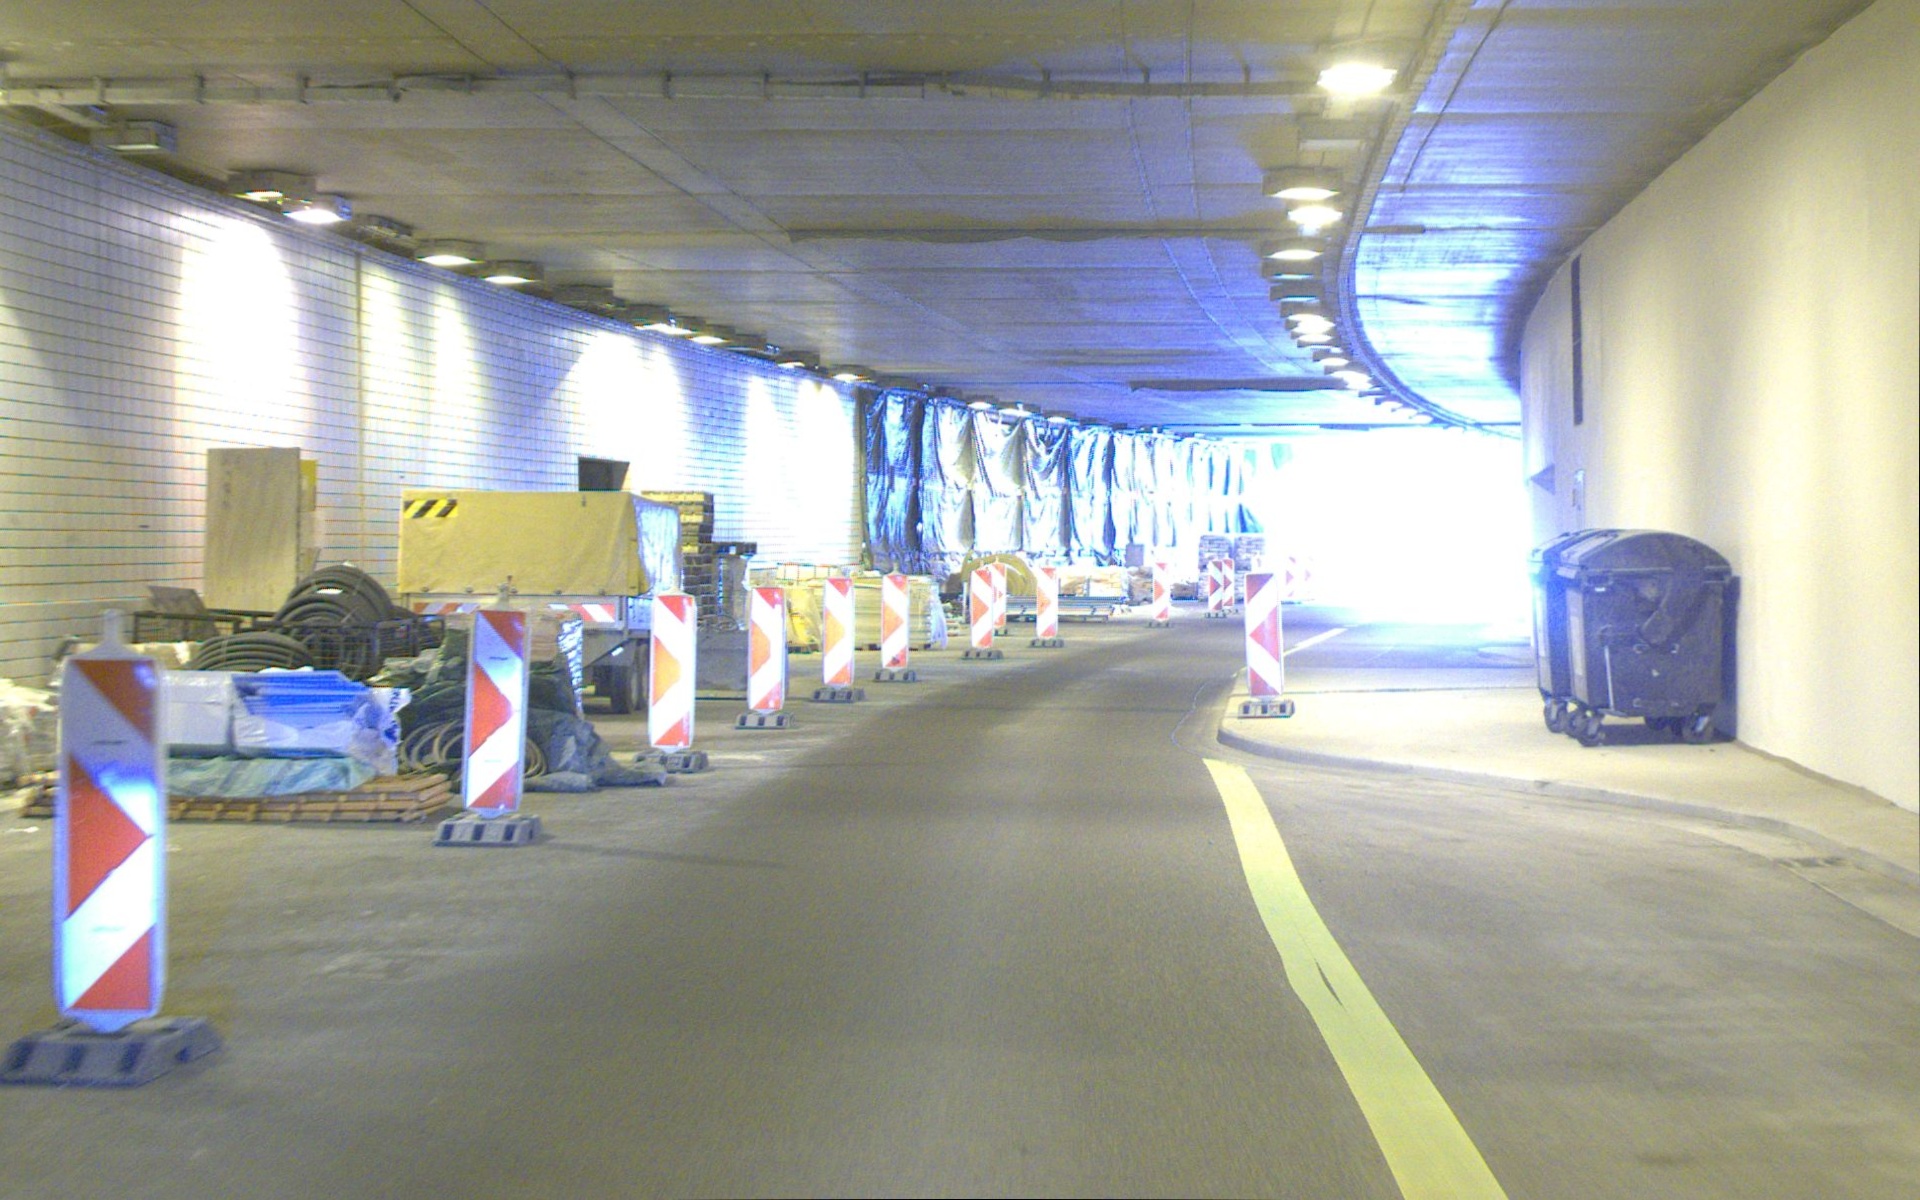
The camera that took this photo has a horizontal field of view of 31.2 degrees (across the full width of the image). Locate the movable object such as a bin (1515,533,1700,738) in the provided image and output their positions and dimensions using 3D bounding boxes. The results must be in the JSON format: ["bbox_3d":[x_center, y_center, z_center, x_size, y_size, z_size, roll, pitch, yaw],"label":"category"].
[{"bbox_3d":[4.696,0.246,25.034,1.145,1.440,1.364,0,0,3],"label":"movable object such as a bin"}]

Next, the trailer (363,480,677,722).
[{"bbox_3d":[-3.818,-0.004,30.411,2.208,2.007,3.466,0,0,2],"label":"trailer"}]

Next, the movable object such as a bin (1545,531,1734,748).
[{"bbox_3d":[4.652,0.256,23.632,1.098,1.440,1.322,0,0,3],"label":"movable object such as a bin"}]
